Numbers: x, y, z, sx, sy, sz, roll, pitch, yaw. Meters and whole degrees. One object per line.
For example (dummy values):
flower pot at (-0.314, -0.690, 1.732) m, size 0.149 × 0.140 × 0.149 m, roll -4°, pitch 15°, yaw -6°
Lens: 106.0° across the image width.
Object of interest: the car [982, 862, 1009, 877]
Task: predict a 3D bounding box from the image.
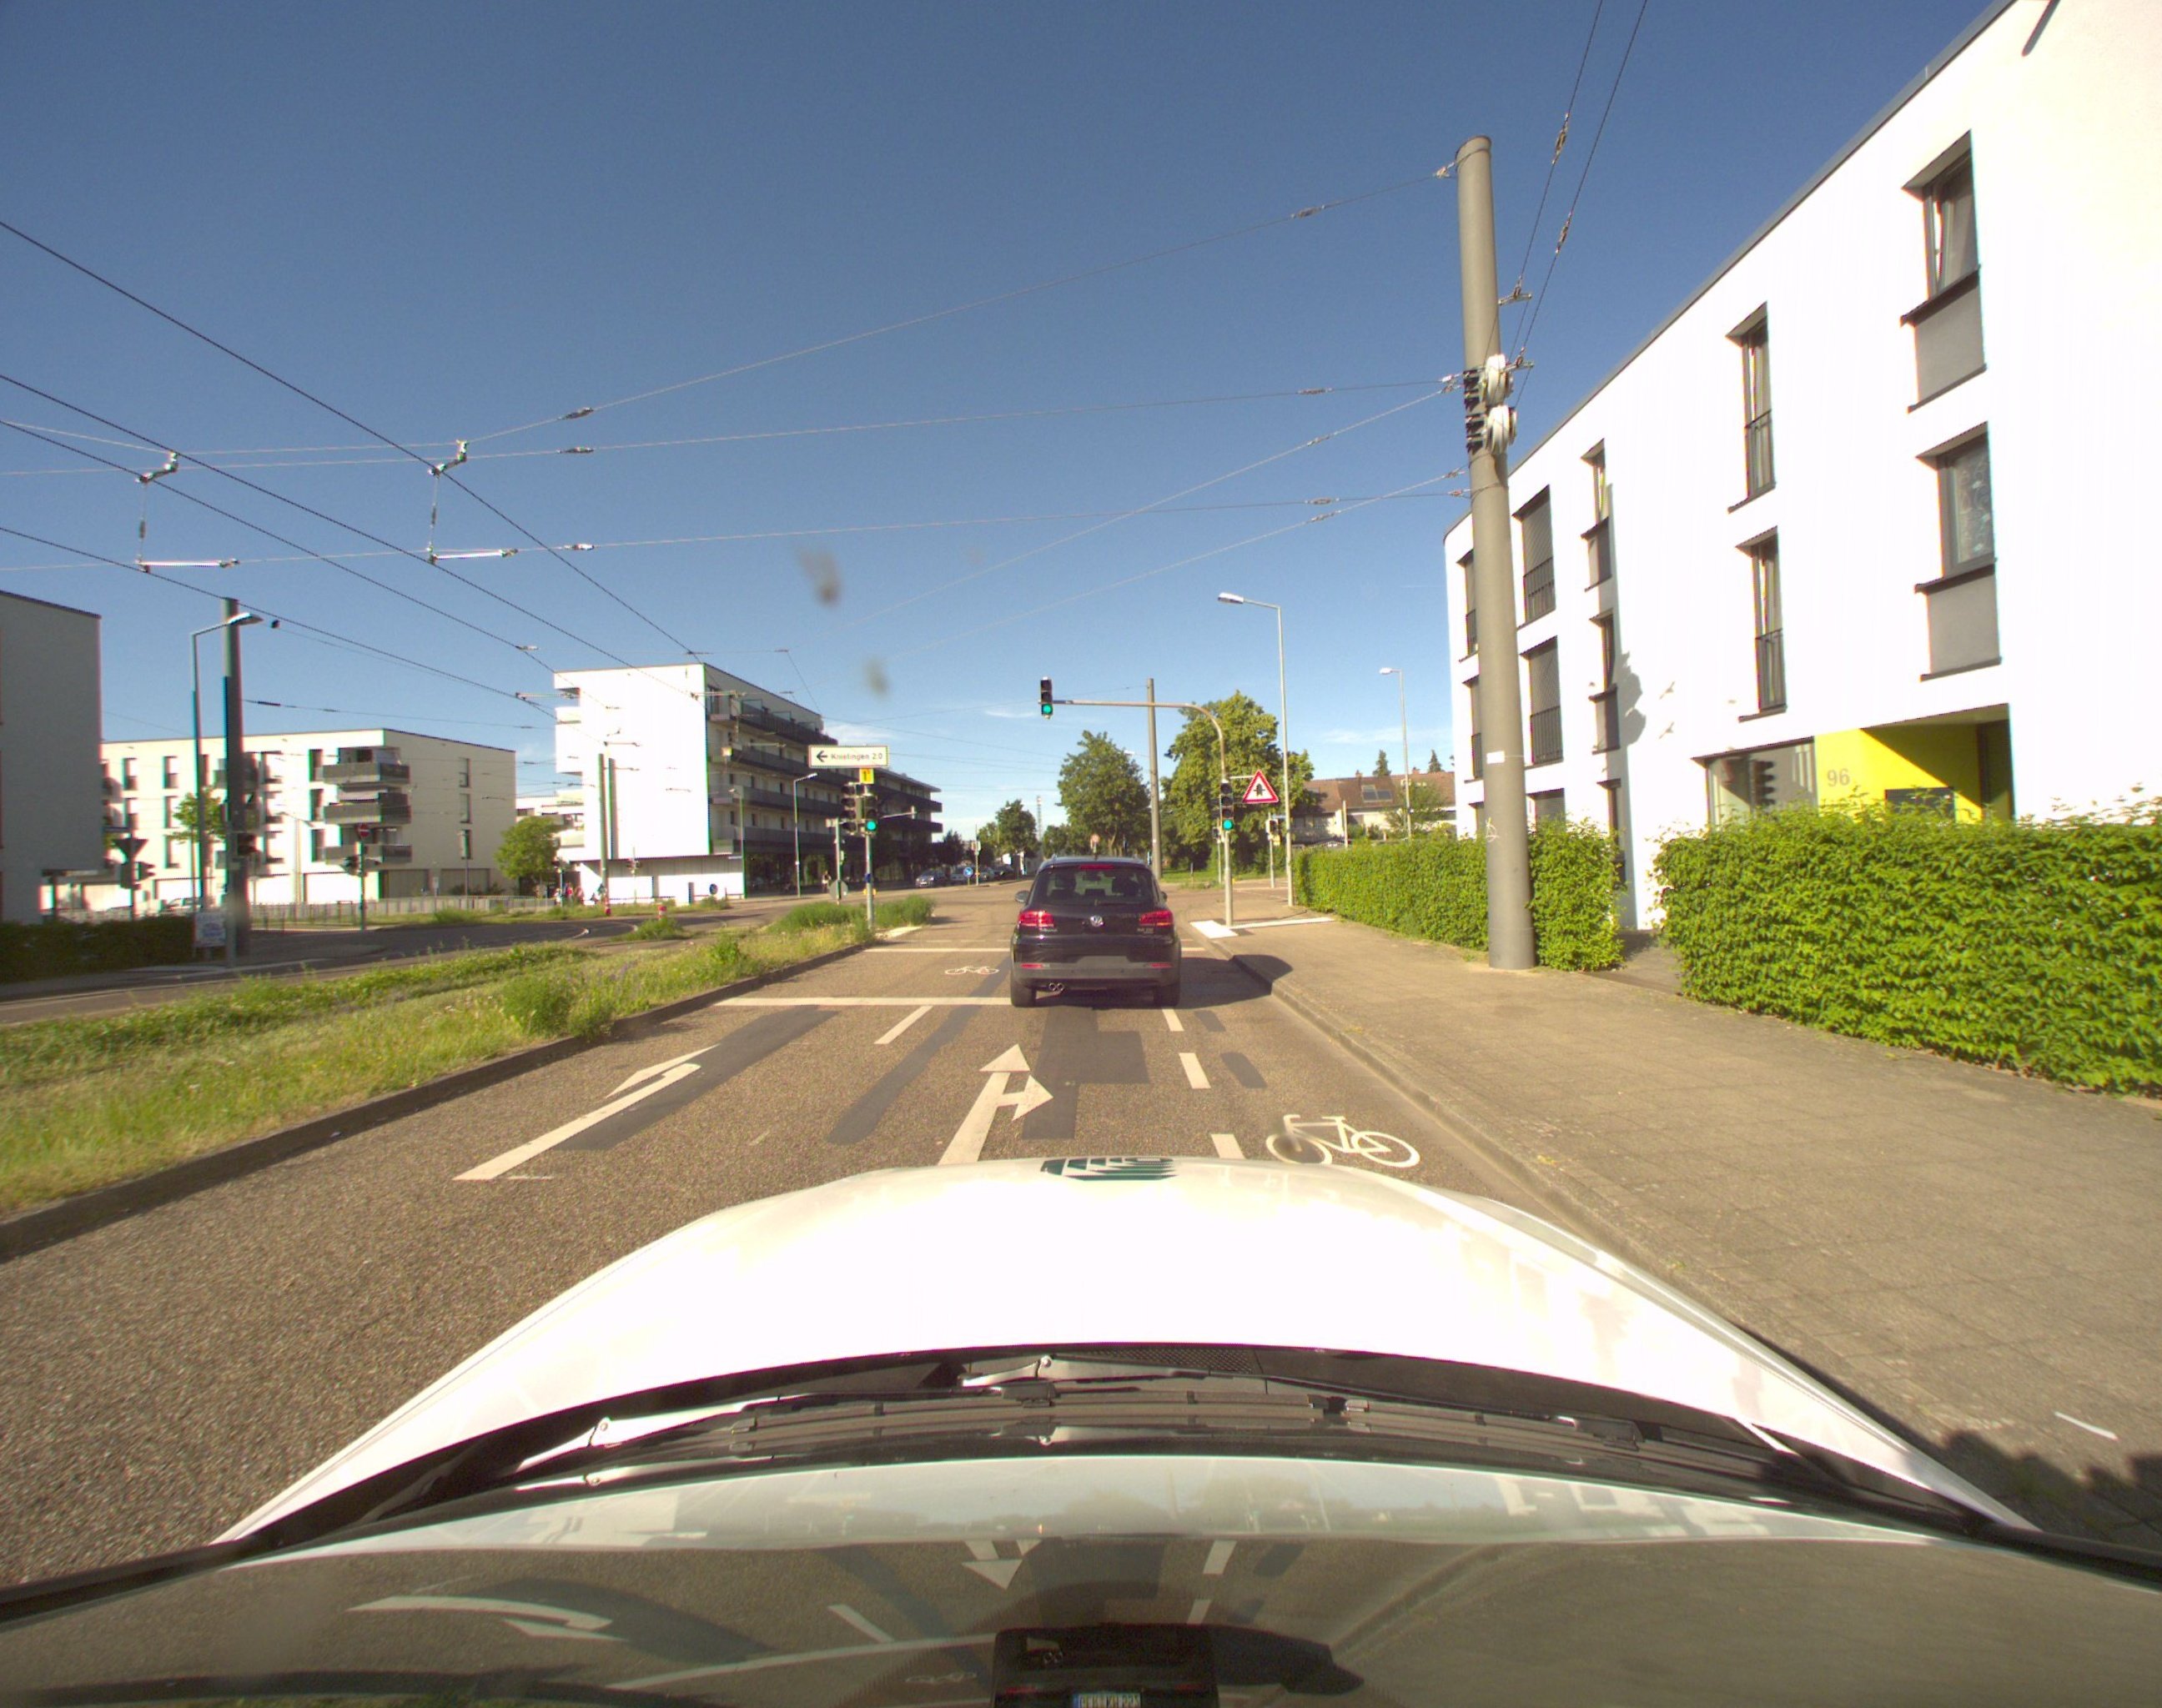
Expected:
car at (-9.240, 1.689, 88.322) m, size 1.958 × 1.534 × 4.746 m, roll -3°, pitch -1°, yaw 4°

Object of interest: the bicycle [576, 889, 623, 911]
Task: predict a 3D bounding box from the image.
bicycle at (-30.637, 2.900, 51.875) m, size 0.895 × 1.198 × 2.834 m, roll -3°, pitch -1°, yaw 11°

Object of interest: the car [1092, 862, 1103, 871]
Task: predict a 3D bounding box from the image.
car at (3.462, 2.619, 173.643) m, size 1.984 × 1.737 × 5.205 m, roll -3°, pitch -1°, yaw 4°

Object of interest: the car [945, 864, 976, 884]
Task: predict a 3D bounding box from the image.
car at (-11.326, 1.849, 76.711) m, size 1.985 × 1.755 × 4.365 m, roll -2°, pitch -1°, yaw 3°

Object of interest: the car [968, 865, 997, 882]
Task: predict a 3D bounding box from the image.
car at (-9.965, 1.995, 82.706) m, size 1.982 × 1.487 × 3.552 m, roll -5°, pitch -1°, yaw 9°

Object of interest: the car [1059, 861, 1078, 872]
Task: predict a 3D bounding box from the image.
car at (-1.849, 1.896, 122.726) m, size 1.981 × 1.571 × 4.011 m, roll -3°, pitch -1°, yaw 10°

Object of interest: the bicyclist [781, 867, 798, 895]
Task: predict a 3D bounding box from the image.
bicyclist at (-21.628, 2.013, 60.403) m, size 0.801 × 2.014 × 0.800 m, roll -4°, pitch -1°, yaw 43°

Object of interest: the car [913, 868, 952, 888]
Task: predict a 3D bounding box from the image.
car at (-12.294, 1.997, 67.593) m, size 1.685 × 1.456 × 4.465 m, roll -3°, pitch -1°, yaw 10°

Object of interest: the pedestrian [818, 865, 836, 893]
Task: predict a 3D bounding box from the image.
pedestrian at (-18.937, 1.859, 60.676) m, size 0.974 × 2.014 × 0.760 m, roll -3°, pitch -1°, yaw 0°

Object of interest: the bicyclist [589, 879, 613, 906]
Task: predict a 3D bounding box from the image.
bicyclist at (-30.637, 2.451, 51.972) m, size 0.886 × 1.592 × 0.916 m, roll -3°, pitch -1°, yaw 11°

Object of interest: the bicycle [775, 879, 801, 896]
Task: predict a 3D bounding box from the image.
bicycle at (-21.680, 2.462, 60.299) m, size 0.735 × 1.144 × 1.653 m, roll -3°, pitch -1°, yaw 42°

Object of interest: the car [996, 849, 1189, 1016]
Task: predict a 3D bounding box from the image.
car at (0.150, 0.807, 10.387) m, size 1.923 × 1.654 × 4.514 m, roll 0°, pitch -1°, yaw 1°
